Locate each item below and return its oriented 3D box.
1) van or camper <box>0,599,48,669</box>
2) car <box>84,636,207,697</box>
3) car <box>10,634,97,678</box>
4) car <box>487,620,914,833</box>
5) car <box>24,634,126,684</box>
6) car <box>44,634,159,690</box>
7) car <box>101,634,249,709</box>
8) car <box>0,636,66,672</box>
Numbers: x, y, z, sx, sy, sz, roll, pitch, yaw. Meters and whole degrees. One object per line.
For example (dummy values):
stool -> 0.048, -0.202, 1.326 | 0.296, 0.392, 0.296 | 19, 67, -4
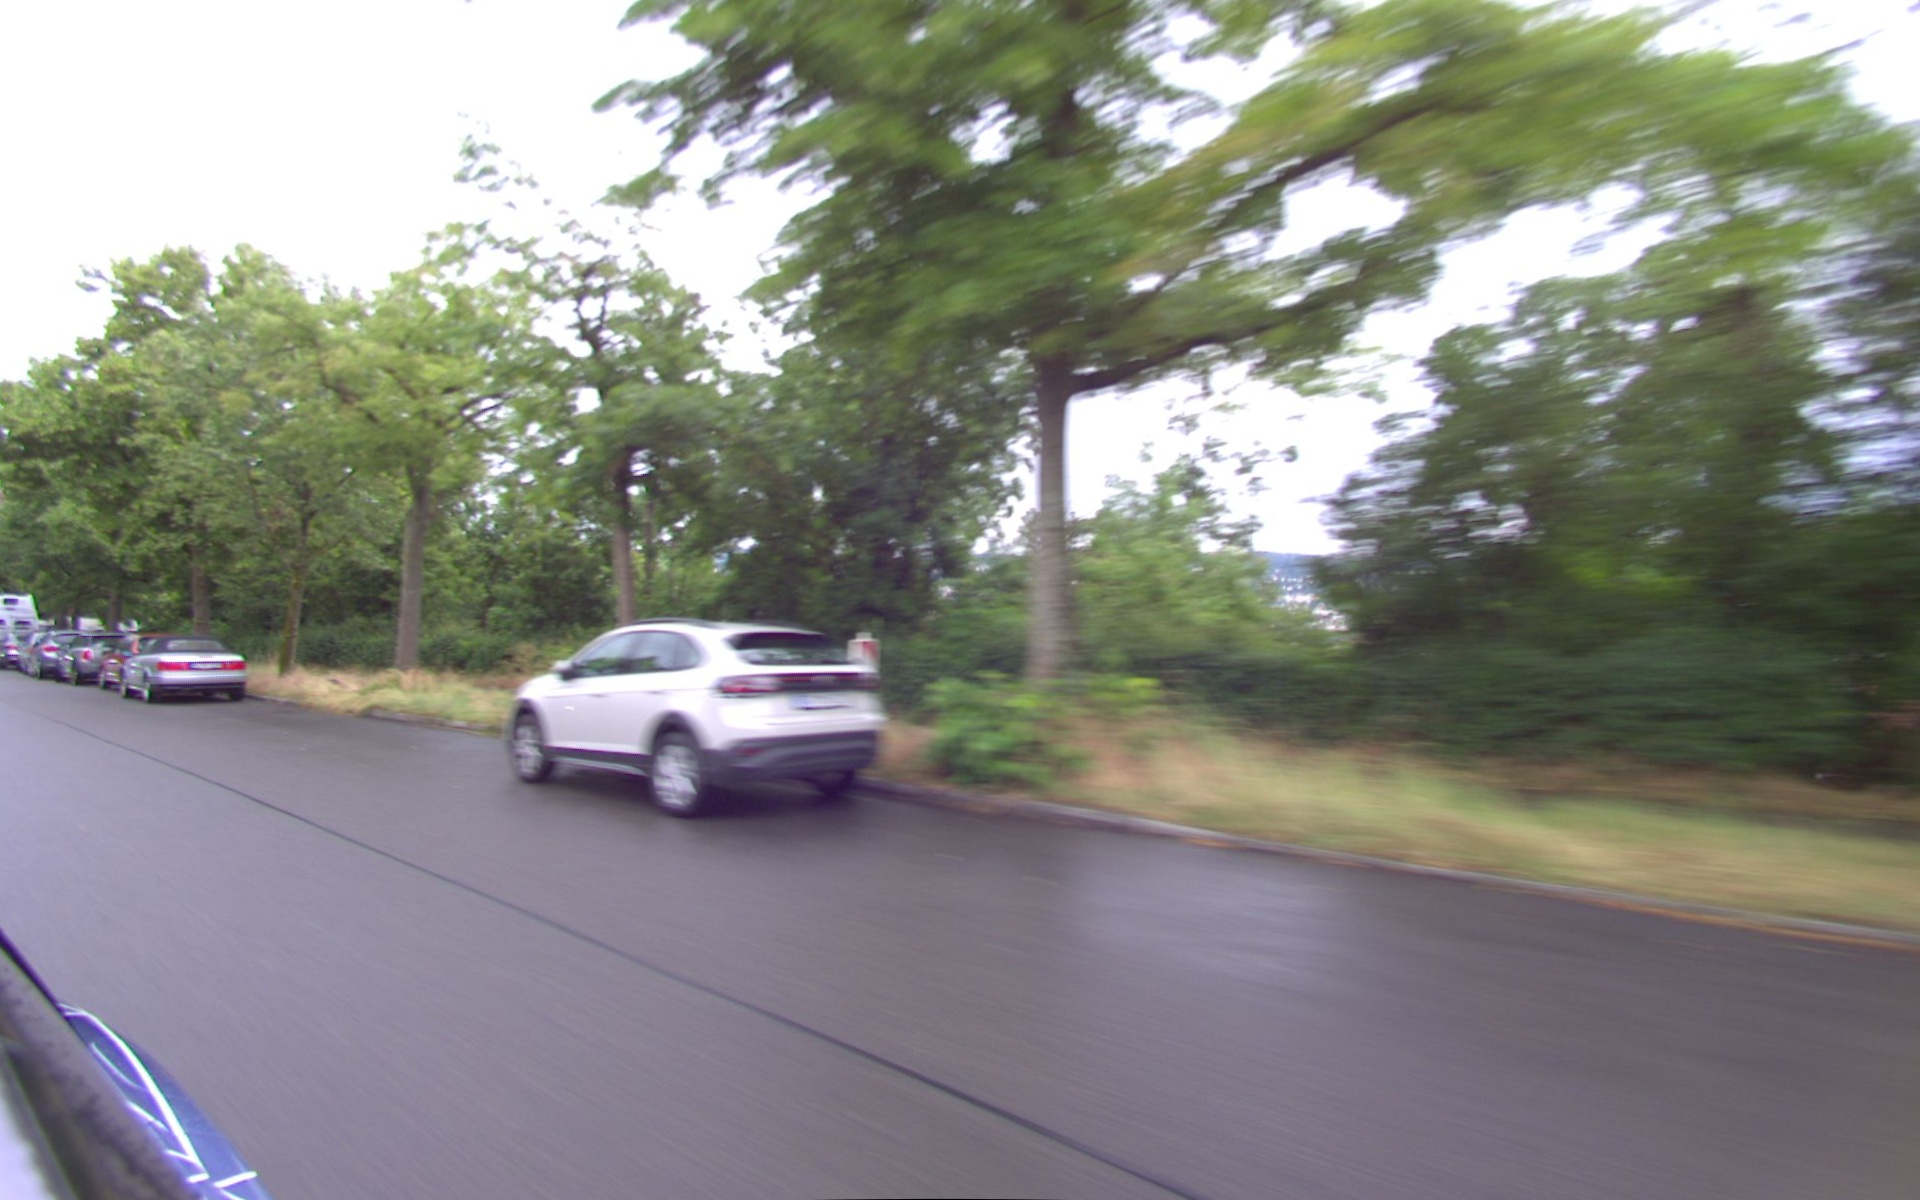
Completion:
van or camper -> -44.282, 1.555, 46.698 | 6.560, 3.050, 2.478 | -1, -3, 42
car -> -20.448, 1.608, 25.360 | 3.997, 1.372, 1.579 | -1, -2, 39
car -> -31.667, 1.984, 35.311 | 1.970, 1.416, 4.716 | 3, -5, -44
car -> -2.478, 0.916, 8.979 | 4.257, 1.448, 1.670 | -1, -2, 44
car -> -27.886, 1.808, 31.845 | 4.715, 1.416, 1.971 | -1, -3, 44
car -> -24.361, 1.707, 28.651 | 4.715, 1.416, 1.971 | -1, -3, 44
car -> -17.094, 1.475, 21.951 | 4.417, 1.413, 1.736 | -1, -2, 42
car -> -36.593, 2.133, 39.525 | 5.355, 1.319, 1.971 | -3, -5, 43
